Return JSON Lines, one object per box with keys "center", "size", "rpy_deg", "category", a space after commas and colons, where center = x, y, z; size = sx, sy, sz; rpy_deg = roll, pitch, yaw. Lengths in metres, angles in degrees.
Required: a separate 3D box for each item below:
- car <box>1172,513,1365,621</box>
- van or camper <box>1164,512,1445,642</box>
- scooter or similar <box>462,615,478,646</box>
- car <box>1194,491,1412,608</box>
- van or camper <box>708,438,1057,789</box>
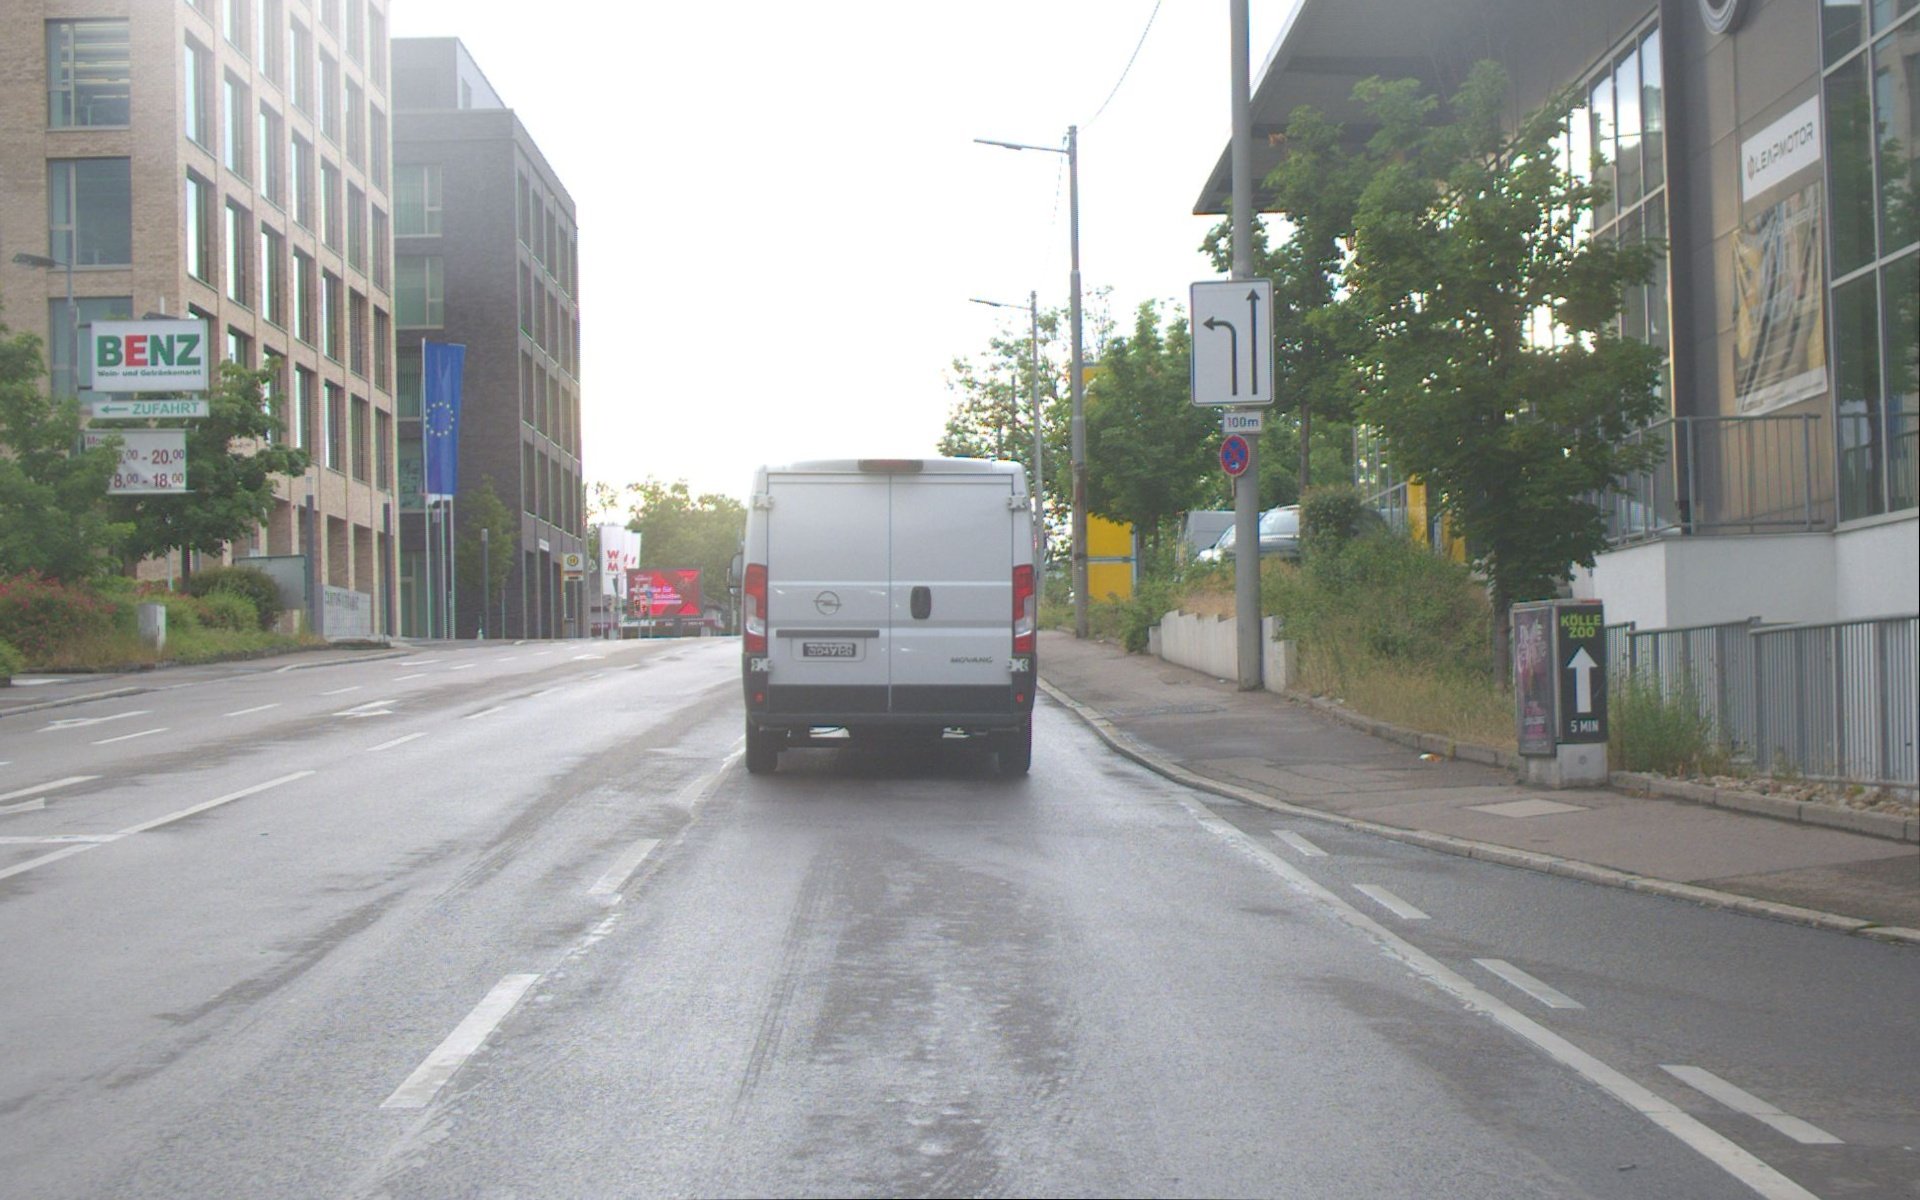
{"center": [5.390, -0.540, 59.556], "size": [1.996, 1.705, 4.572], "rpy_deg": [-3, -1, 23], "category": "car"}
{"center": [7.322, -0.481, 73.578], "size": [5.736, 2.715, 2.352], "rpy_deg": [0, 0, -1], "category": "van or camper"}
{"center": [-17.517, 1.092, 122.927], "size": [0.351, 1.068, 1.428], "rpy_deg": [0, -2, 0], "category": "scooter or similar"}
{"center": [5.516, -0.761, 54.767], "size": [1.996, 1.705, 4.422], "rpy_deg": [-3, -1, 26], "category": "car"}
{"center": [-0.518, 0.090, 25.718], "size": [2.340, 2.349, 5.199], "rpy_deg": [0, 0, 0], "category": "van or camper"}
